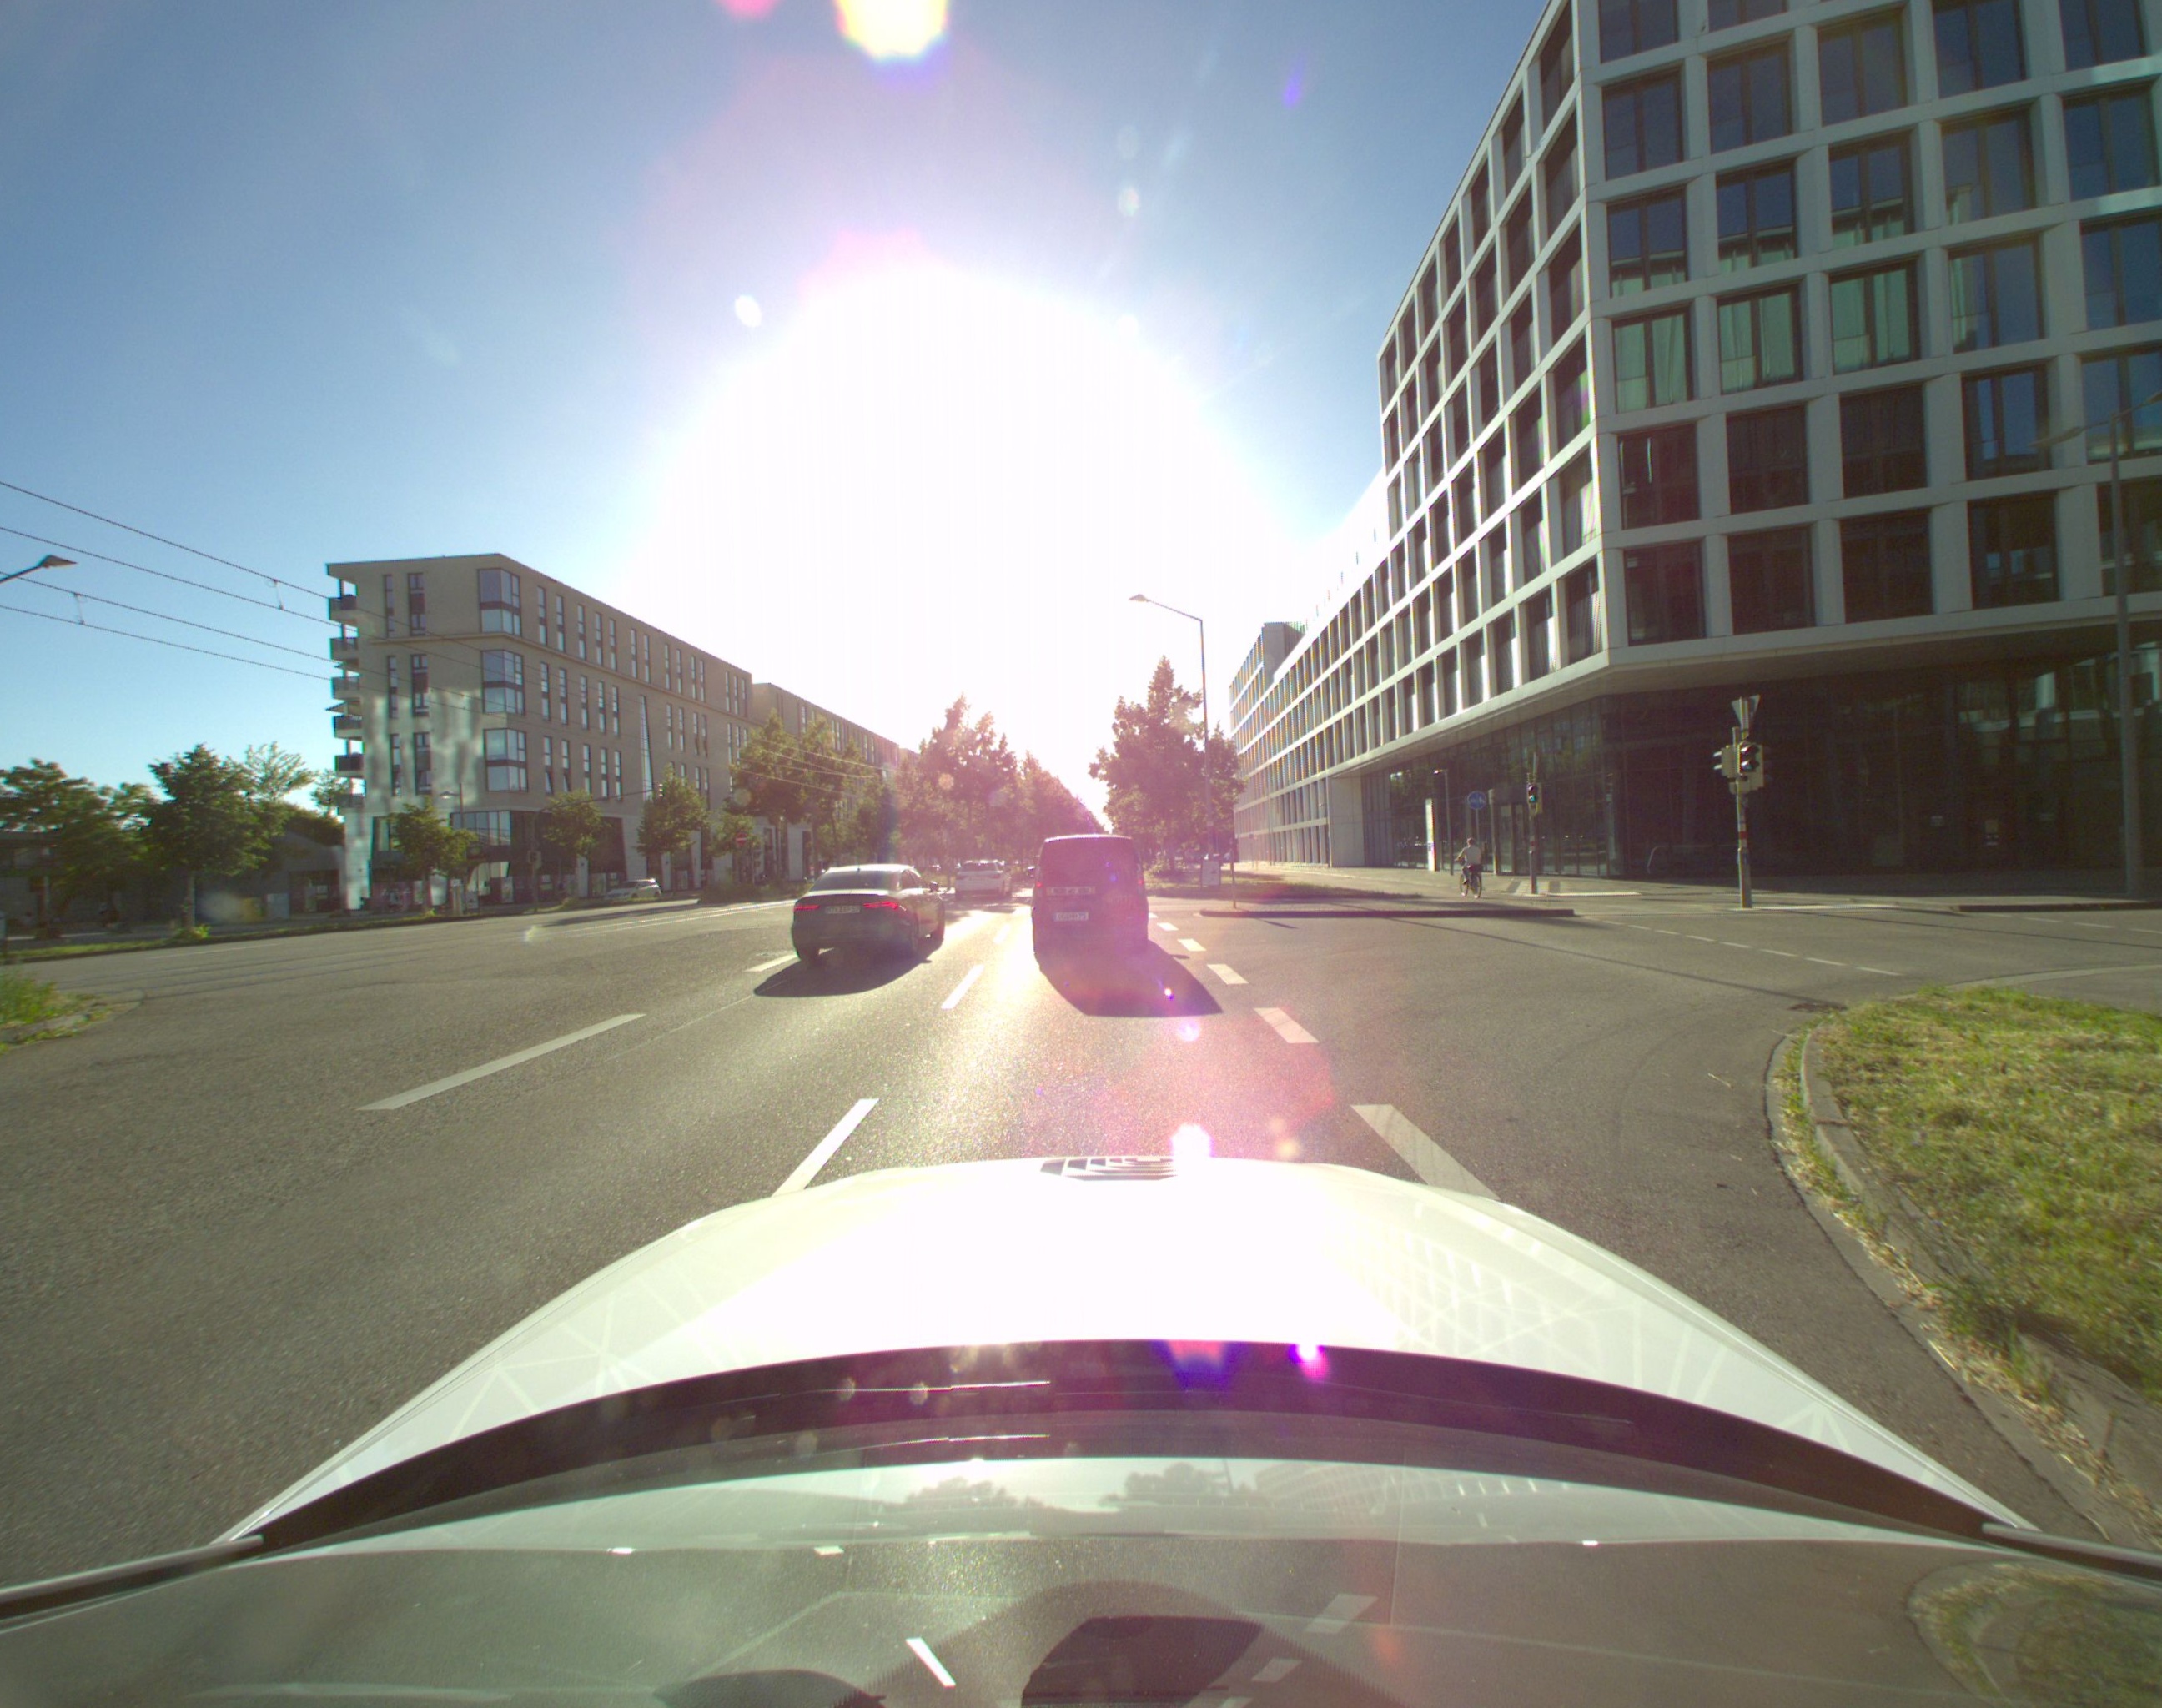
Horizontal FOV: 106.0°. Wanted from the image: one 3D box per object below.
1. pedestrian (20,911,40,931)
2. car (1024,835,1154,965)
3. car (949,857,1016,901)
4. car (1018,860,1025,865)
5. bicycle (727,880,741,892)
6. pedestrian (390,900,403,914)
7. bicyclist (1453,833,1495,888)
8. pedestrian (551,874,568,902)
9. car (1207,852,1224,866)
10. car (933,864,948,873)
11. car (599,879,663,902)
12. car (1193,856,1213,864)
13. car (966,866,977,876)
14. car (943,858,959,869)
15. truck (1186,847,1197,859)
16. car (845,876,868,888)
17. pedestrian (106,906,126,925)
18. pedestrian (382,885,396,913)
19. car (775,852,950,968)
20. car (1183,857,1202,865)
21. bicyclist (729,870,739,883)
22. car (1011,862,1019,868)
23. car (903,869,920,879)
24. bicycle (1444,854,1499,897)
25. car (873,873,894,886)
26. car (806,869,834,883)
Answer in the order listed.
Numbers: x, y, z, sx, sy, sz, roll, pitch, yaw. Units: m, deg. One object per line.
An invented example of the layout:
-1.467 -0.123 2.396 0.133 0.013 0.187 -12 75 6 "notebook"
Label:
-62.299 3.967 48.269 0.436 1.125 0.601 -2 -1 6 "pedestrian"
0.119 0.666 13.801 1.802 1.794 4.112 -2 0 0 "car"
-3.535 0.867 29.991 1.801 1.434 4.114 -3 0 1 "car"
-18.791 2.625 256.195 1.595 1.556 4.003 -2 0 3 "car"
-34.310 3.174 80.584 0.525 1.111 1.641 -2 -1 7 "bicycle"
-45.947 3.544 54.664 0.602 0.920 0.429 -1 -1 -33 "pedestrian"
11.393 0.188 23.648 0.768 1.531 0.850 -3 0 3 "bicyclist"
-33.498 2.176 52.300 0.577 1.812 0.800 -2 -1 0 "pedestrian"
16.868 0.639 102.406 1.749 1.611 3.908 -2 0 5 "car"
-24.115 2.458 139.713 1.573 1.342 3.715 -3 0 3 "car"
-30.474 2.449 55.312 1.573 1.342 4.475 -3 0 3 "car"
21.097 1.023 141.180 3.378 1.358 1.475 -3 -1 10 "car"
-23.557 3.607 175.609 1.722 2.013 4.001 -2 0 1 "car"
-23.593 1.711 147.816 1.986 2.013 4.002 -2 0 2 "car"
23.460 -0.245 173.223 1.824 2.501 5.937 -2 -1 3 "truck"
-27.749 3.445 100.825 1.573 1.342 3.715 -3 0 3 "car"
-57.972 3.694 48.917 0.436 1.125 0.601 -2 -1 6 "pedestrian"
-45.643 2.964 53.737 0.602 1.771 0.666 -1 -1 -33 "pedestrian"
-3.369 0.783 13.397 1.803 1.527 4.110 -2 0 -2 "car"
20.954 1.337 153.098 3.378 1.358 1.475 -3 -1 10 "car"
-34.339 2.247 80.610 0.575 1.293 0.706 -2 -1 7 "bicyclist"
-19.611 3.317 242.686 1.748 1.574 4.003 -3 0 3 "car"
-26.331 3.118 126.527 1.573 1.342 3.715 -3 0 3 "car"
11.426 0.619 23.896 0.738 1.174 1.963 -3 0 4 "bicycle"
-27.462 3.521 113.276 1.768 1.528 3.809 -3 0 3 "car"
-28.216 2.338 88.163 1.573 1.342 3.715 -3 0 3 "car"
